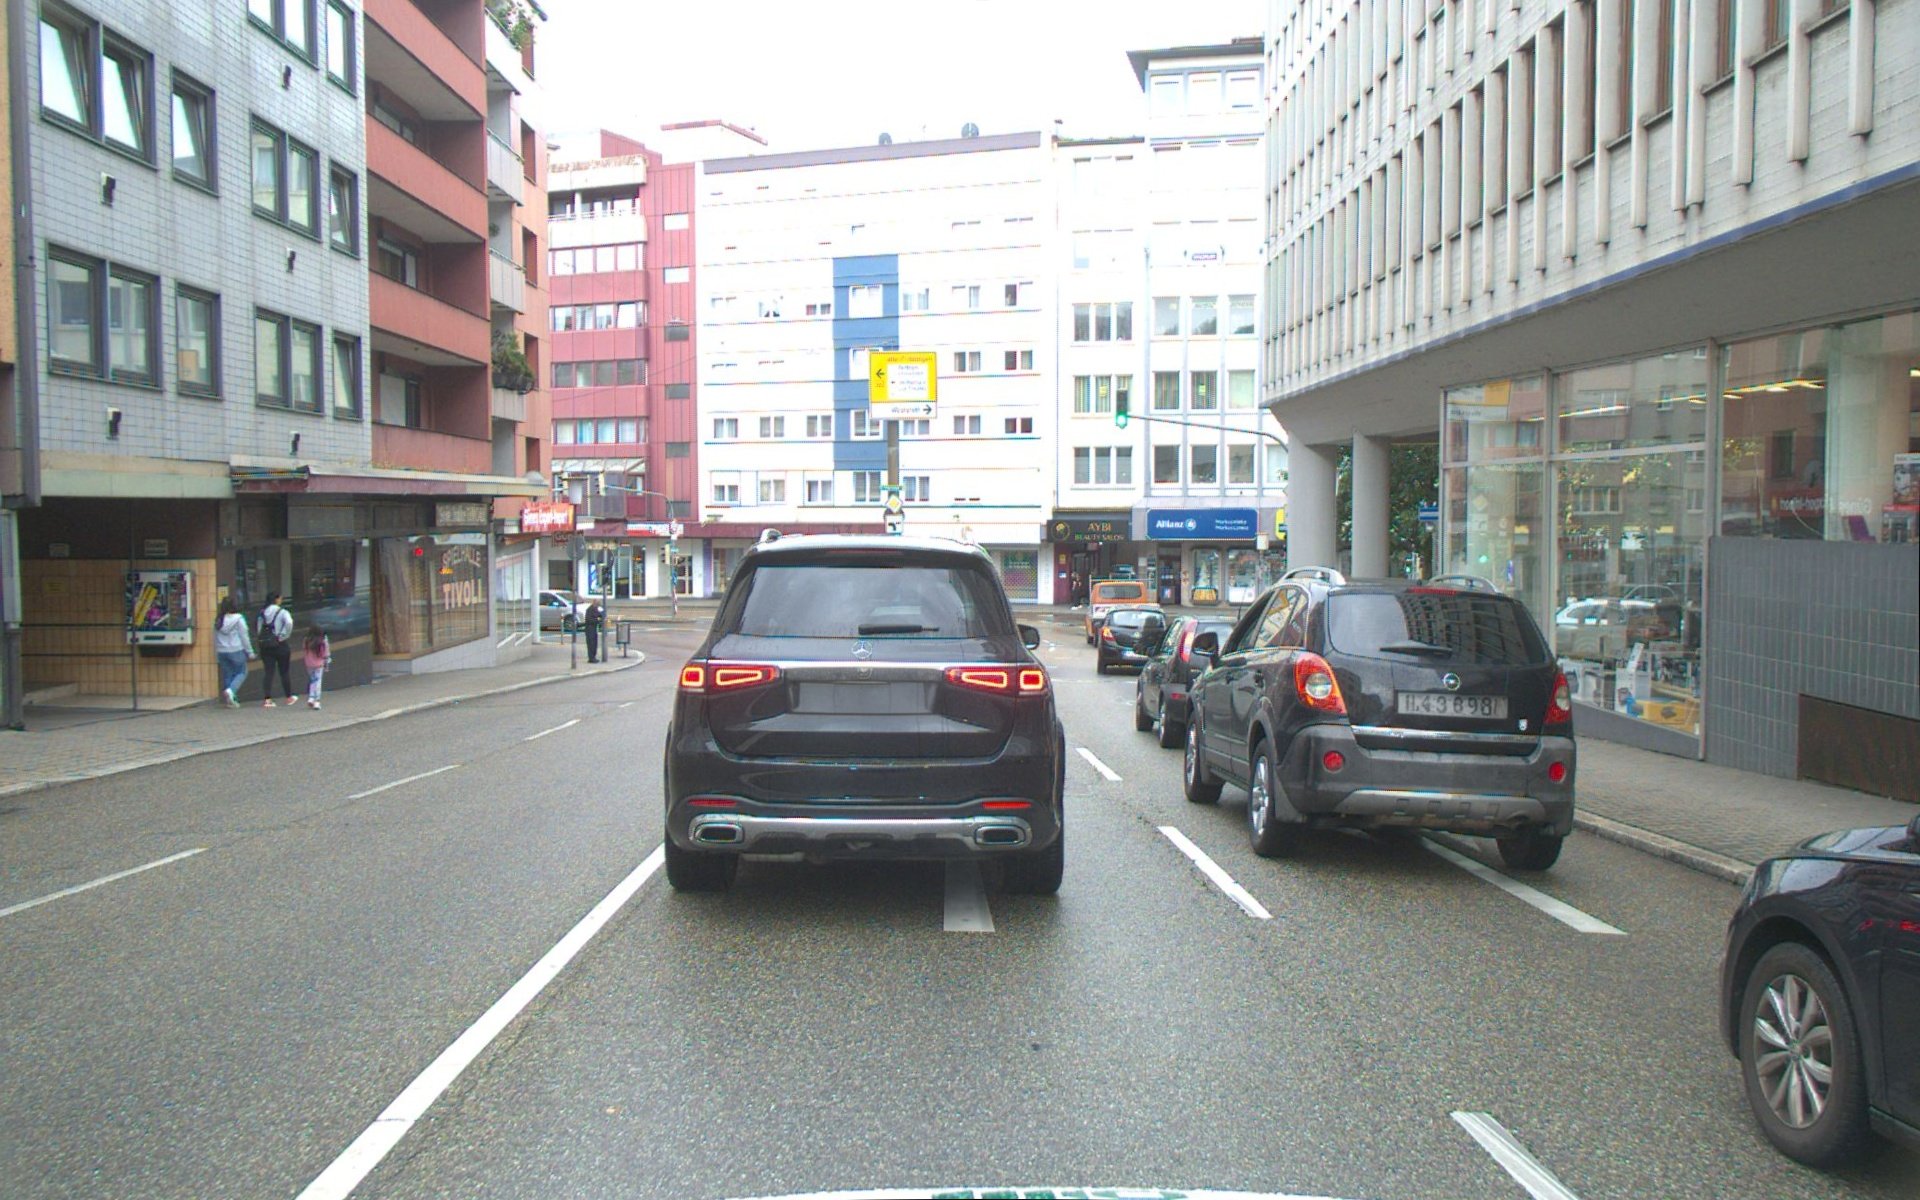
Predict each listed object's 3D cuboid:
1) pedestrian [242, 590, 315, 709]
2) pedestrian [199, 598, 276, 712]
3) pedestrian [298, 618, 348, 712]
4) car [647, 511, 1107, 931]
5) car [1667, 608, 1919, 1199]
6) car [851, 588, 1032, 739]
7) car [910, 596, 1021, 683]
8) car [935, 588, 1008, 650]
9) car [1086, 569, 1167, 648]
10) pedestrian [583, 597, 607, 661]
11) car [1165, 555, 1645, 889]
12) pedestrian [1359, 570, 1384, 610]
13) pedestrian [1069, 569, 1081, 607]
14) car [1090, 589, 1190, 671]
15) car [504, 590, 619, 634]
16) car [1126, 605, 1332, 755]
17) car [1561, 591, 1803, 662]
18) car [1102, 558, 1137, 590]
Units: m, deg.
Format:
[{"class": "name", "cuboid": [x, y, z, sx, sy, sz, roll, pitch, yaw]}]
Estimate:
[{"class": "pedestrian", "cuboid": [-10.153, 0.729, 24.658, 0.812, 1.719, 0.722, 2, 0, -10]}, {"class": "pedestrian", "cuboid": [-10.416, 0.785, 23.870, 0.812, 1.588, 0.722, 2, 0, -10]}, {"class": "pedestrian", "cuboid": [-9.455, 0.961, 24.564, 0.523, 1.346, 0.722, 2, 0, -10]}, {"class": "car", "cuboid": [-0.451, 0.526, 9.639, 1.998, 1.830, 4.661, 1, 0, -2]}, {"class": "car", "cuboid": [3.251, 0.830, 3.451, 1.655, 1.503, 3.998, 3, 0, -2]}, {"class": "car", "cuboid": [-0.274, 0.640, 19.197, 1.836, 1.521, 4.398, 1, 0, -2]}, {"class": "car", "cuboid": [0.073, 0.700, 31.551, 1.953, 1.512, 4.236, -1, 0, -1]}, {"class": "car", "cuboid": [0.269, 0.550, 45.841, 1.885, 1.542, 4.661, 2, -1, -1]}, {"class": "car", "cuboid": [5.092, 0.246, 51.262, 2.195, 2.267, 5.430, 1, 0, 3]}, {"class": "pedestrian", "cuboid": [-9.980, 0.787, 45.189, 0.543, 1.727, 0.623, 0, 0, -4]}, {"class": "car", "cuboid": [2.700, 0.652, 11.224, 1.859, 1.724, 4.504, 3, 0, -2]}, {"class": "pedestrian", "cuboid": [18.651, -0.456, 74.941, 1.008, 1.717, 0.831, 0, 6, 8]}, {"class": "pedestrian", "cuboid": [5.452, -0.579, 78.409, 0.552, 1.717, 0.757, 0, 6, 5]}, {"class": "car", "cuboid": [3.960, 0.658, 37.067, 1.785, 1.687, 4.495, 1, -1, 1]}, {"class": "car", "cuboid": [-15.776, 0.465, 65.555, 4.073, 1.620, 1.742, 1, 1, 14]}, {"class": "car", "cuboid": [2.992, 0.834, 19.161, 1.730, 1.421, 4.001, 3, 0, 1]}, {"class": "car", "cuboid": [16.434, 0.564, 37.792, 4.763, 1.521, 1.847, 0, 0, 41]}, {"class": "car", "cuboid": [8.778, -1.412, 90.701, 1.759, 1.699, 4.003, -1, 0, 8]}]
